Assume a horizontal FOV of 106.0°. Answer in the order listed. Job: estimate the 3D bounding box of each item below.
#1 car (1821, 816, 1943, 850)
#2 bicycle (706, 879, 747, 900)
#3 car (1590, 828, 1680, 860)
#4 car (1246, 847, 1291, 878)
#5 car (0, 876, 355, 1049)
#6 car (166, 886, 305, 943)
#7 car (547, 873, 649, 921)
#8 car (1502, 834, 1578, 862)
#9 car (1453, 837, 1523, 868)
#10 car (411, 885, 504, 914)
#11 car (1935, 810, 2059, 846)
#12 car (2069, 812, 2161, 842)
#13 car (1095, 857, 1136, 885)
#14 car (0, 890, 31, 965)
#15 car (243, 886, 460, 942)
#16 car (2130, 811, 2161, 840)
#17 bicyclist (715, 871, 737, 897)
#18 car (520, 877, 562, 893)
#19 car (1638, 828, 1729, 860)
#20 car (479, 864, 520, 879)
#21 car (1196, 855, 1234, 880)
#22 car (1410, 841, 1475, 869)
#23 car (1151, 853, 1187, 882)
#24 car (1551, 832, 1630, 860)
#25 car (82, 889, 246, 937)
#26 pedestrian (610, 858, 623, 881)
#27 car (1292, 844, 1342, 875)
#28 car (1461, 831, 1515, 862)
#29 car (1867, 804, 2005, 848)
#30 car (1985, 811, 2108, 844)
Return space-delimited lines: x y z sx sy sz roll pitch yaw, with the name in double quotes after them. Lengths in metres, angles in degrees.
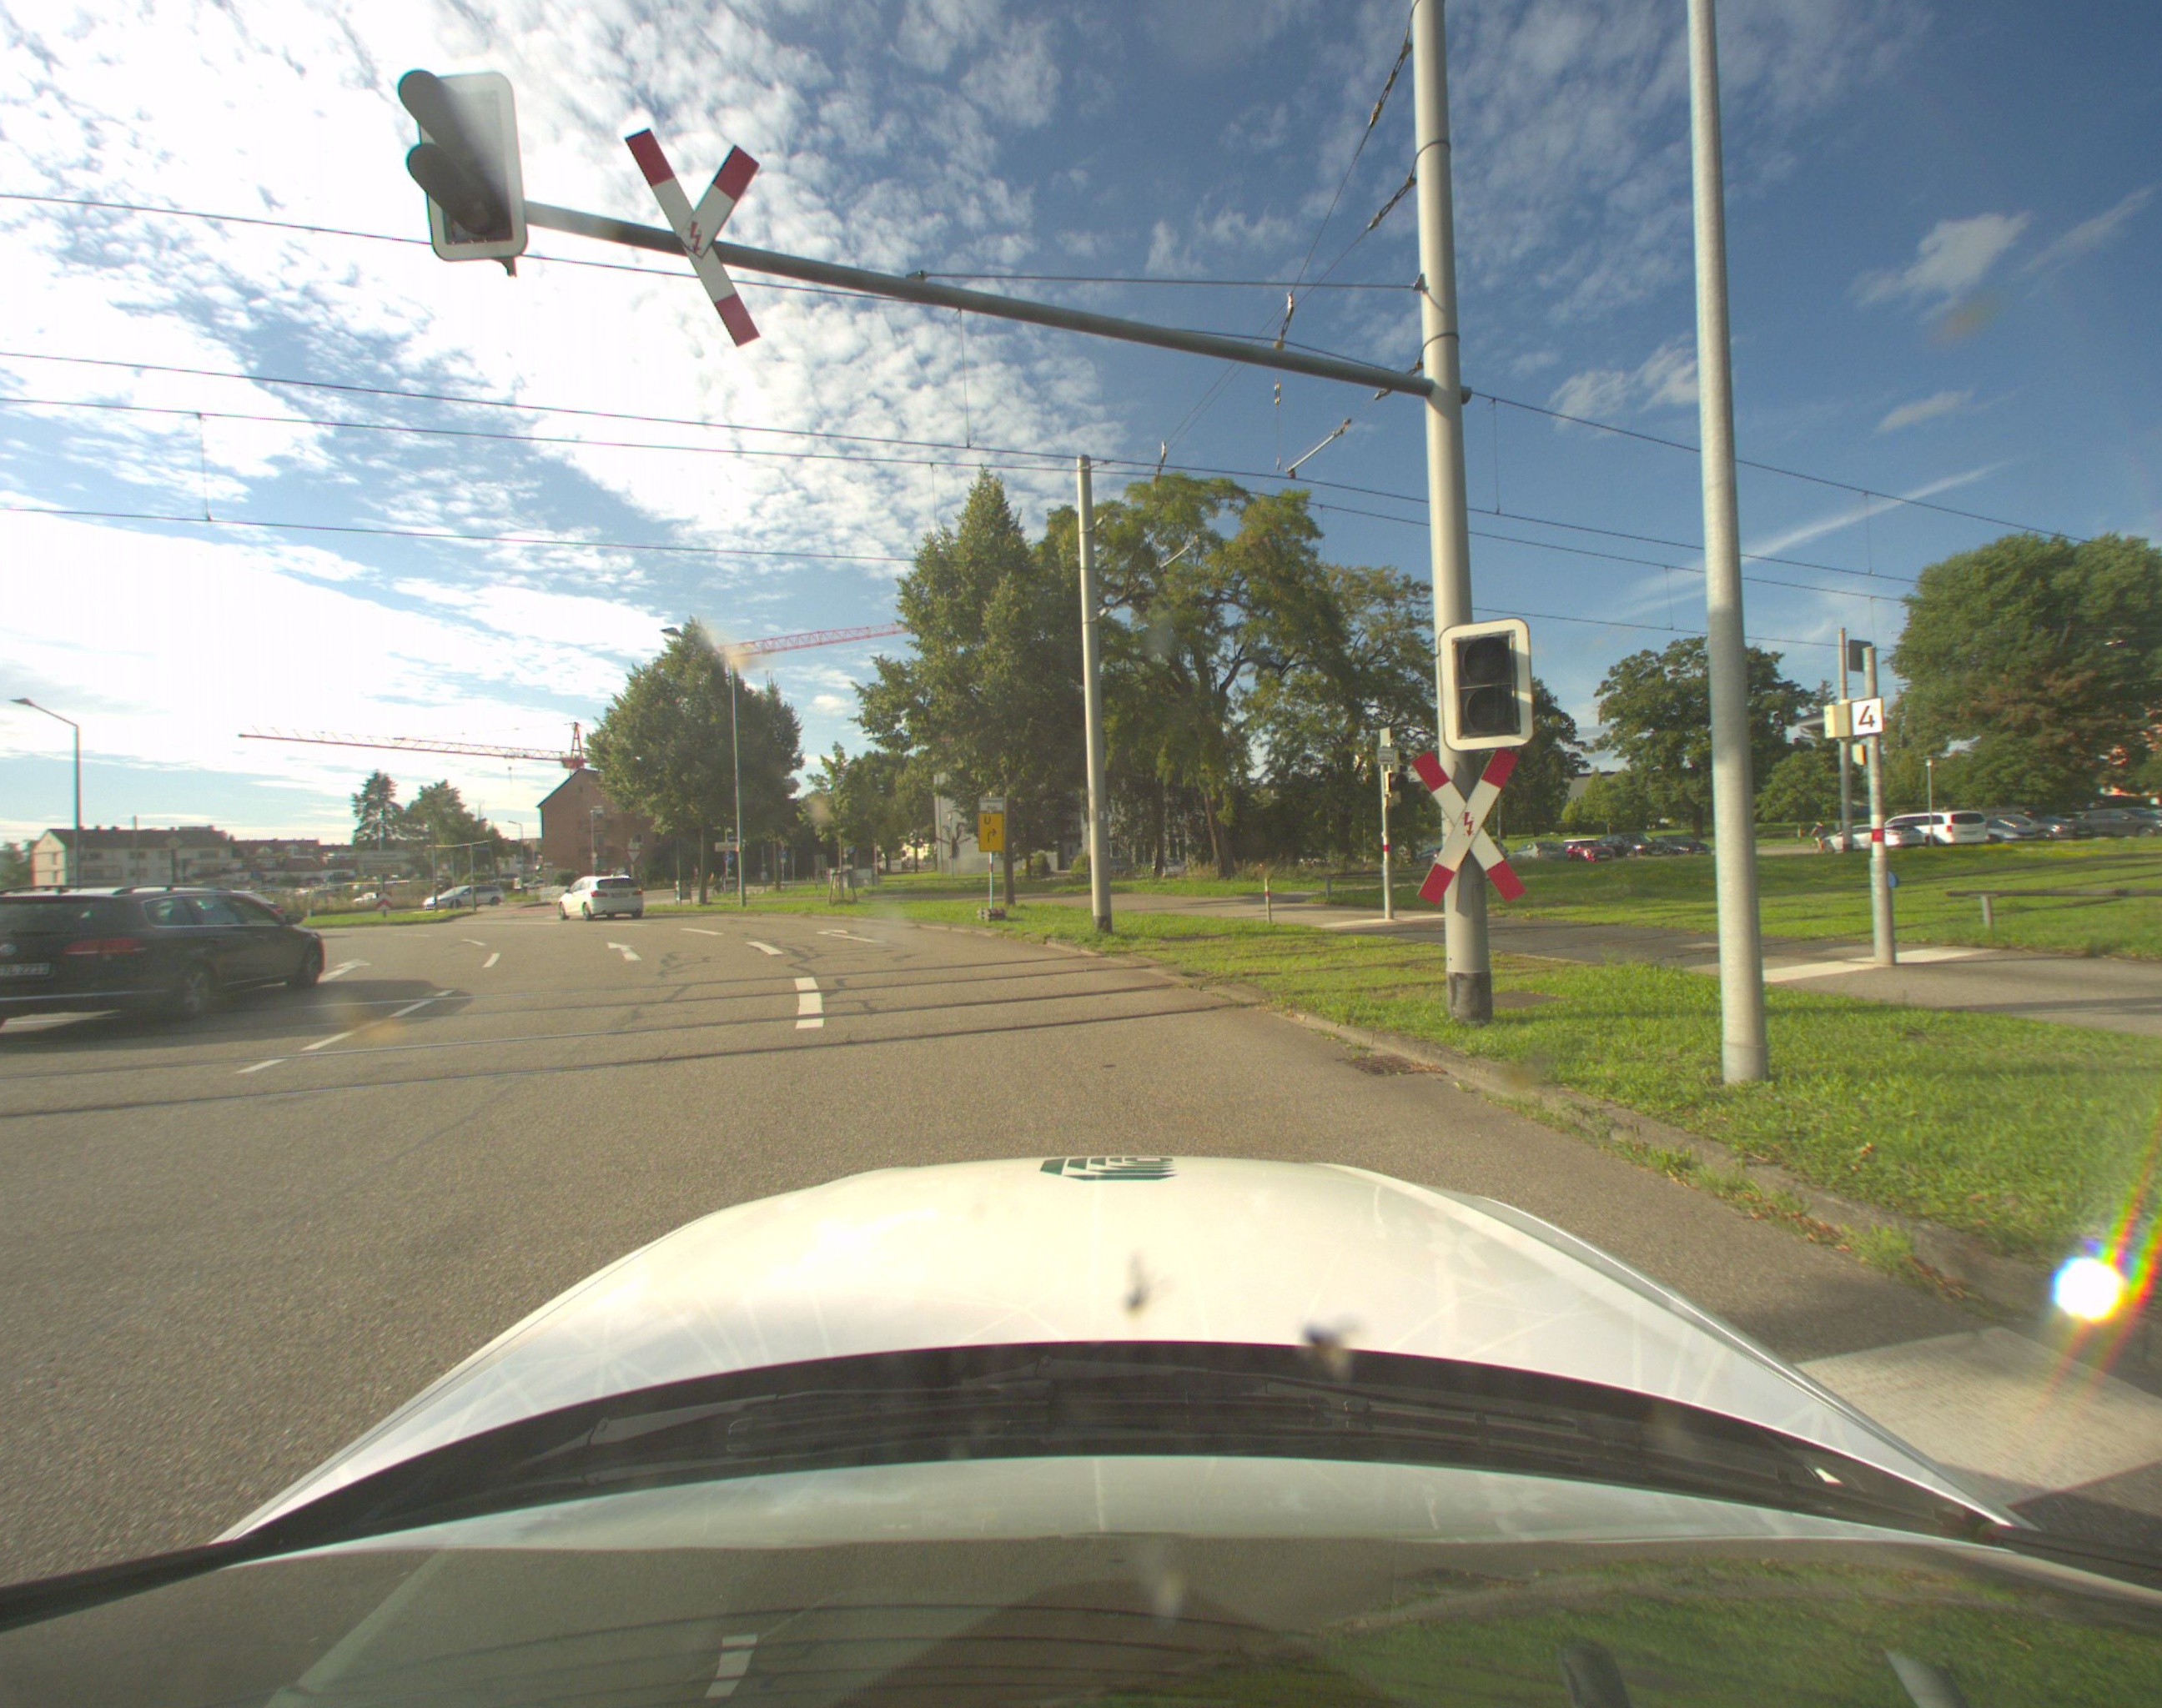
41.361 -1.037 42.220 1.849 1.515 4.467 -3 0 -1 "car"
-21.863 2.174 50.205 2.140 1.137 0.771 -2 0 -6 "bicycle"
29.396 -0.494 43.423 1.845 1.515 4.954 -3 0 7 "car"
10.237 0.444 44.818 1.845 1.515 4.742 -3 0 7 "car"
-11.066 1.100 9.772 2.002 1.566 4.807 -2 -1 -23 "car"
-24.835 1.727 23.878 4.654 1.445 1.868 -2 -1 31 "car"
-17.618 1.516 29.646 4.397 1.572 1.868 -2 -1 41 "car"
24.791 -0.303 44.172 1.845 1.358 4.843 -3 0 7 "car"
21.917 -0.069 44.048 1.845 1.515 4.757 -3 0 7 "car"
-38.773 2.796 50.825 1.807 1.452 4.554 -3 0 9 "car"
47.209 -1.294 42.141 2.081 1.674 4.487 -3 0 15 "car"
53.764 -1.363 41.509 1.843 1.398 4.482 -3 0 10 "car"
1.977 0.903 45.602 1.845 1.381 4.524 -3 0 7 "car"
-25.119 1.643 18.214 4.014 1.572 1.785 -2 -1 35 "car"
-22.516 1.816 25.340 4.650 1.431 1.894 -1 -1 -13 "car"
56.438 -1.522 41.022 1.843 1.504 4.482 -3 0 10 "car"
-21.883 1.854 50.207 0.955 1.575 0.771 -2 0 -5 "bicyclist"
-64.443 3.714 97.305 4.011 1.618 1.756 -2 0 -29 "car"
31.998 -0.497 43.417 1.845 1.515 4.478 -3 0 7 "car"
-71.388 2.184 100.003 4.021 1.618 1.752 -2 0 -40 "car"
7.494 0.727 45.732 1.845 1.207 4.742 -3 0 7 "car"
19.518 0.037 44.168 1.845 1.359 4.742 -3 0 7 "car"
4.961 0.705 45.608 1.845 1.440 4.742 -3 0 7 "car"
27.303 -0.416 43.805 1.845 1.362 4.478 -3 0 7 "car"
-42.471 2.672 37.881 1.879 1.903 4.686 -2 -1 23 "car"
-39.166 1.318 68.639 0.667 1.871 0.832 -3 -1 -12 "pedestrian"
12.836 0.276 44.614 1.845 1.515 4.742 -3 0 7 "car"
27.728 -0.470 55.659 1.860 2.014 4.822 -1 -1 9 "car"
44.133 -1.392 42.249 2.295 2.007 5.127 -3 0 10 "car"
49.379 -1.309 41.776 2.015 1.515 4.128 -3 0 15 "car"
